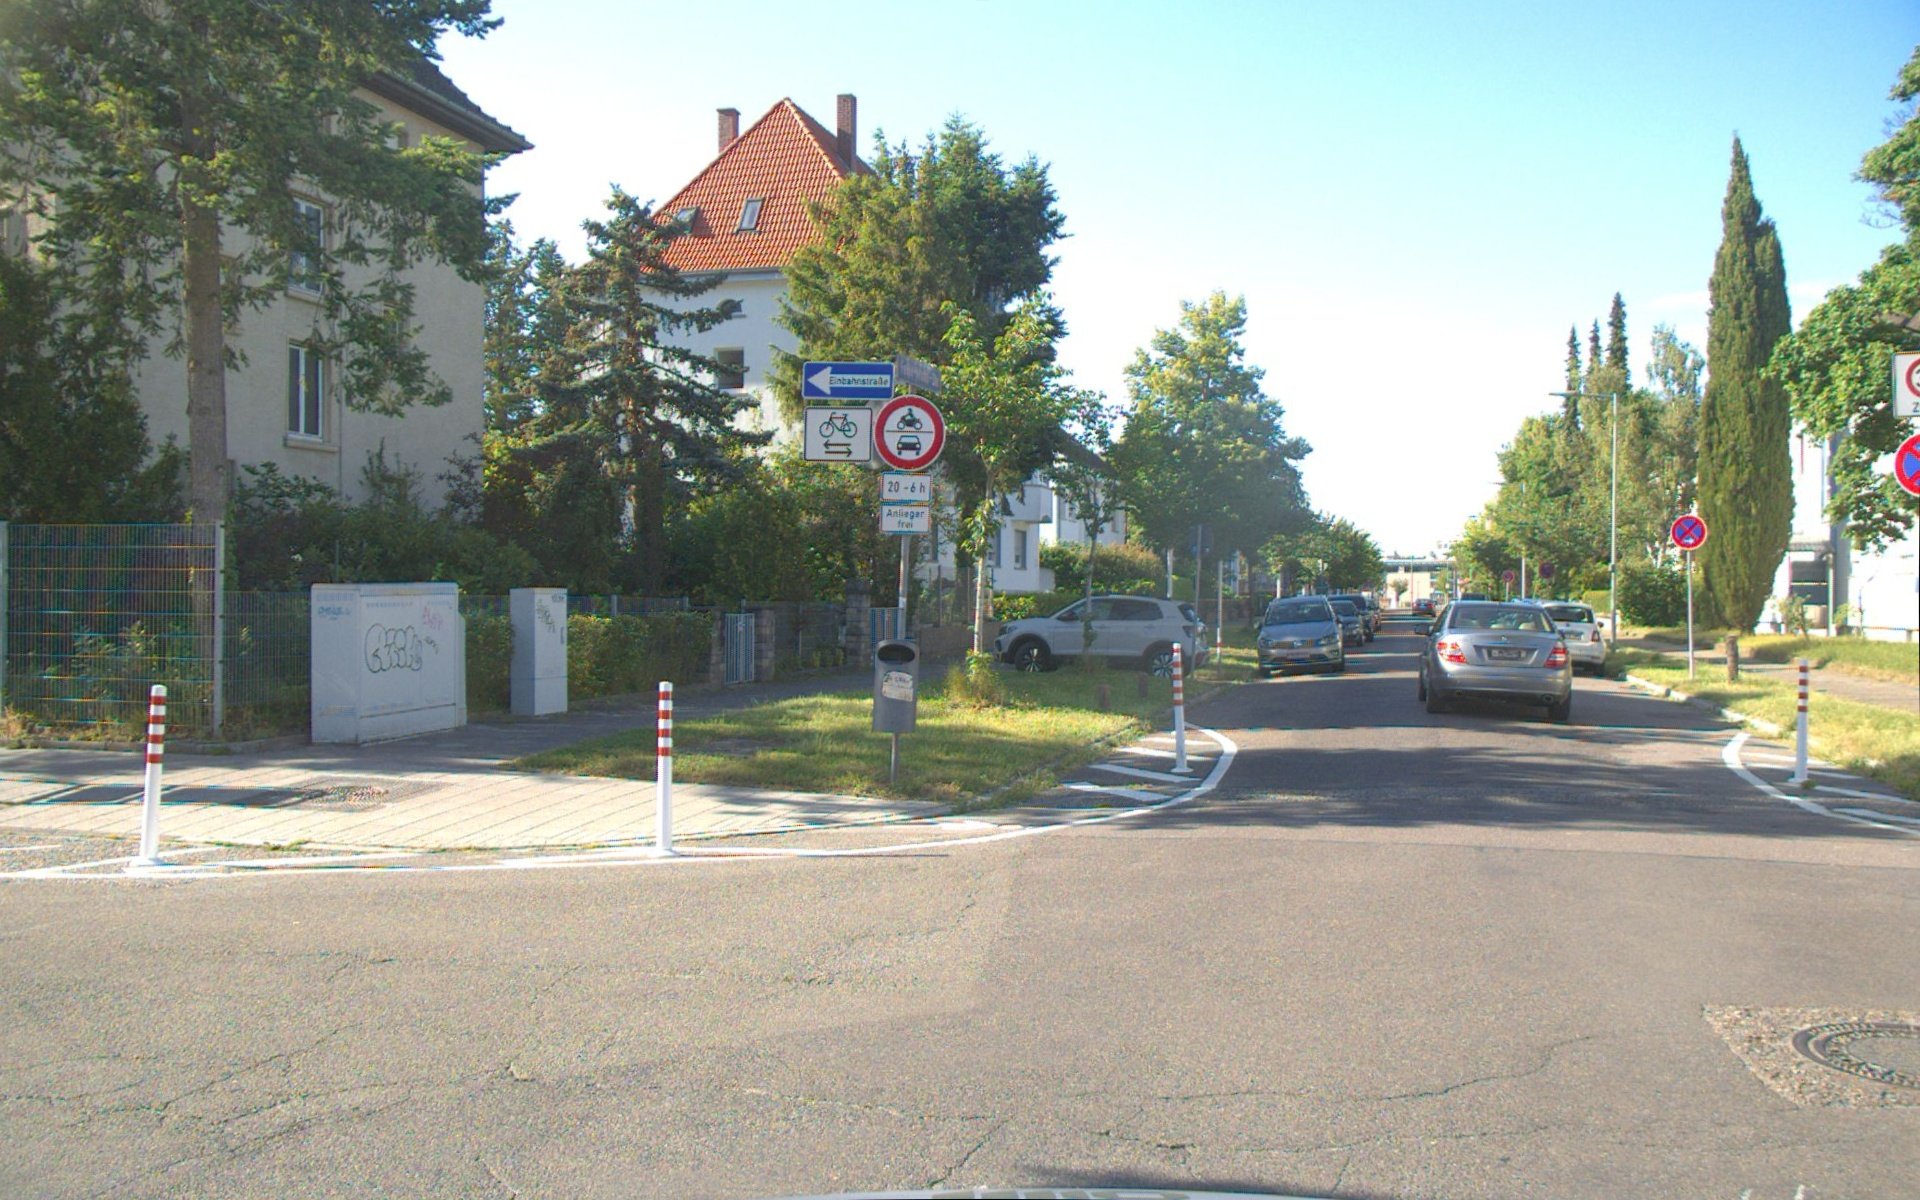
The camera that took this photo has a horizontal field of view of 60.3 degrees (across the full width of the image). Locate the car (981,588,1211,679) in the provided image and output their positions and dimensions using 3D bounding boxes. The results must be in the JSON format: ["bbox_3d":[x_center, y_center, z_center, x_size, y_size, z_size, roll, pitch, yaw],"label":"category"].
[{"bbox_3d":[2.594,0.595,31.101,4.102,1.591,1.844,1,0,12],"label":"car"}]

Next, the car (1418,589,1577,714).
[{"bbox_3d":[6.982,0.604,21.757,1.797,1.466,4.003,1,0,16],"label":"car"}]

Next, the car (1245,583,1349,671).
[{"bbox_3d":[7.184,0.533,35.078,1.951,1.637,4.003,-4,0,13],"label":"car"}]

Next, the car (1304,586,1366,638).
[{"bbox_3d":[13.145,0.400,57.937,1.951,1.637,4.003,-4,0,13],"label":"car"}]

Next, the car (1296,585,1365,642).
[{"bbox_3d":[11.718,0.402,52.316,1.951,1.637,4.003,-4,0,13],"label":"car"}]

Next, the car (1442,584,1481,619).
[{"bbox_3d":[27.248,0.053,89.912,1.815,1.873,4.003,0,0,14],"label":"car"}]

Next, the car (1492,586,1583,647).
[{"bbox_3d":[16.086,0.424,46.262,1.951,1.638,4.003,0,0,13],"label":"car"}]

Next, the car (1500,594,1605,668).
[{"bbox_3d":[12.815,0.629,35.945,1.696,1.505,3.728,0,0,13],"label":"car"}]

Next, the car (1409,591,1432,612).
[{"bbox_3d":[35.975,0.098,129.272,1.563,1.638,3.647,0,0,13],"label":"car"}]
